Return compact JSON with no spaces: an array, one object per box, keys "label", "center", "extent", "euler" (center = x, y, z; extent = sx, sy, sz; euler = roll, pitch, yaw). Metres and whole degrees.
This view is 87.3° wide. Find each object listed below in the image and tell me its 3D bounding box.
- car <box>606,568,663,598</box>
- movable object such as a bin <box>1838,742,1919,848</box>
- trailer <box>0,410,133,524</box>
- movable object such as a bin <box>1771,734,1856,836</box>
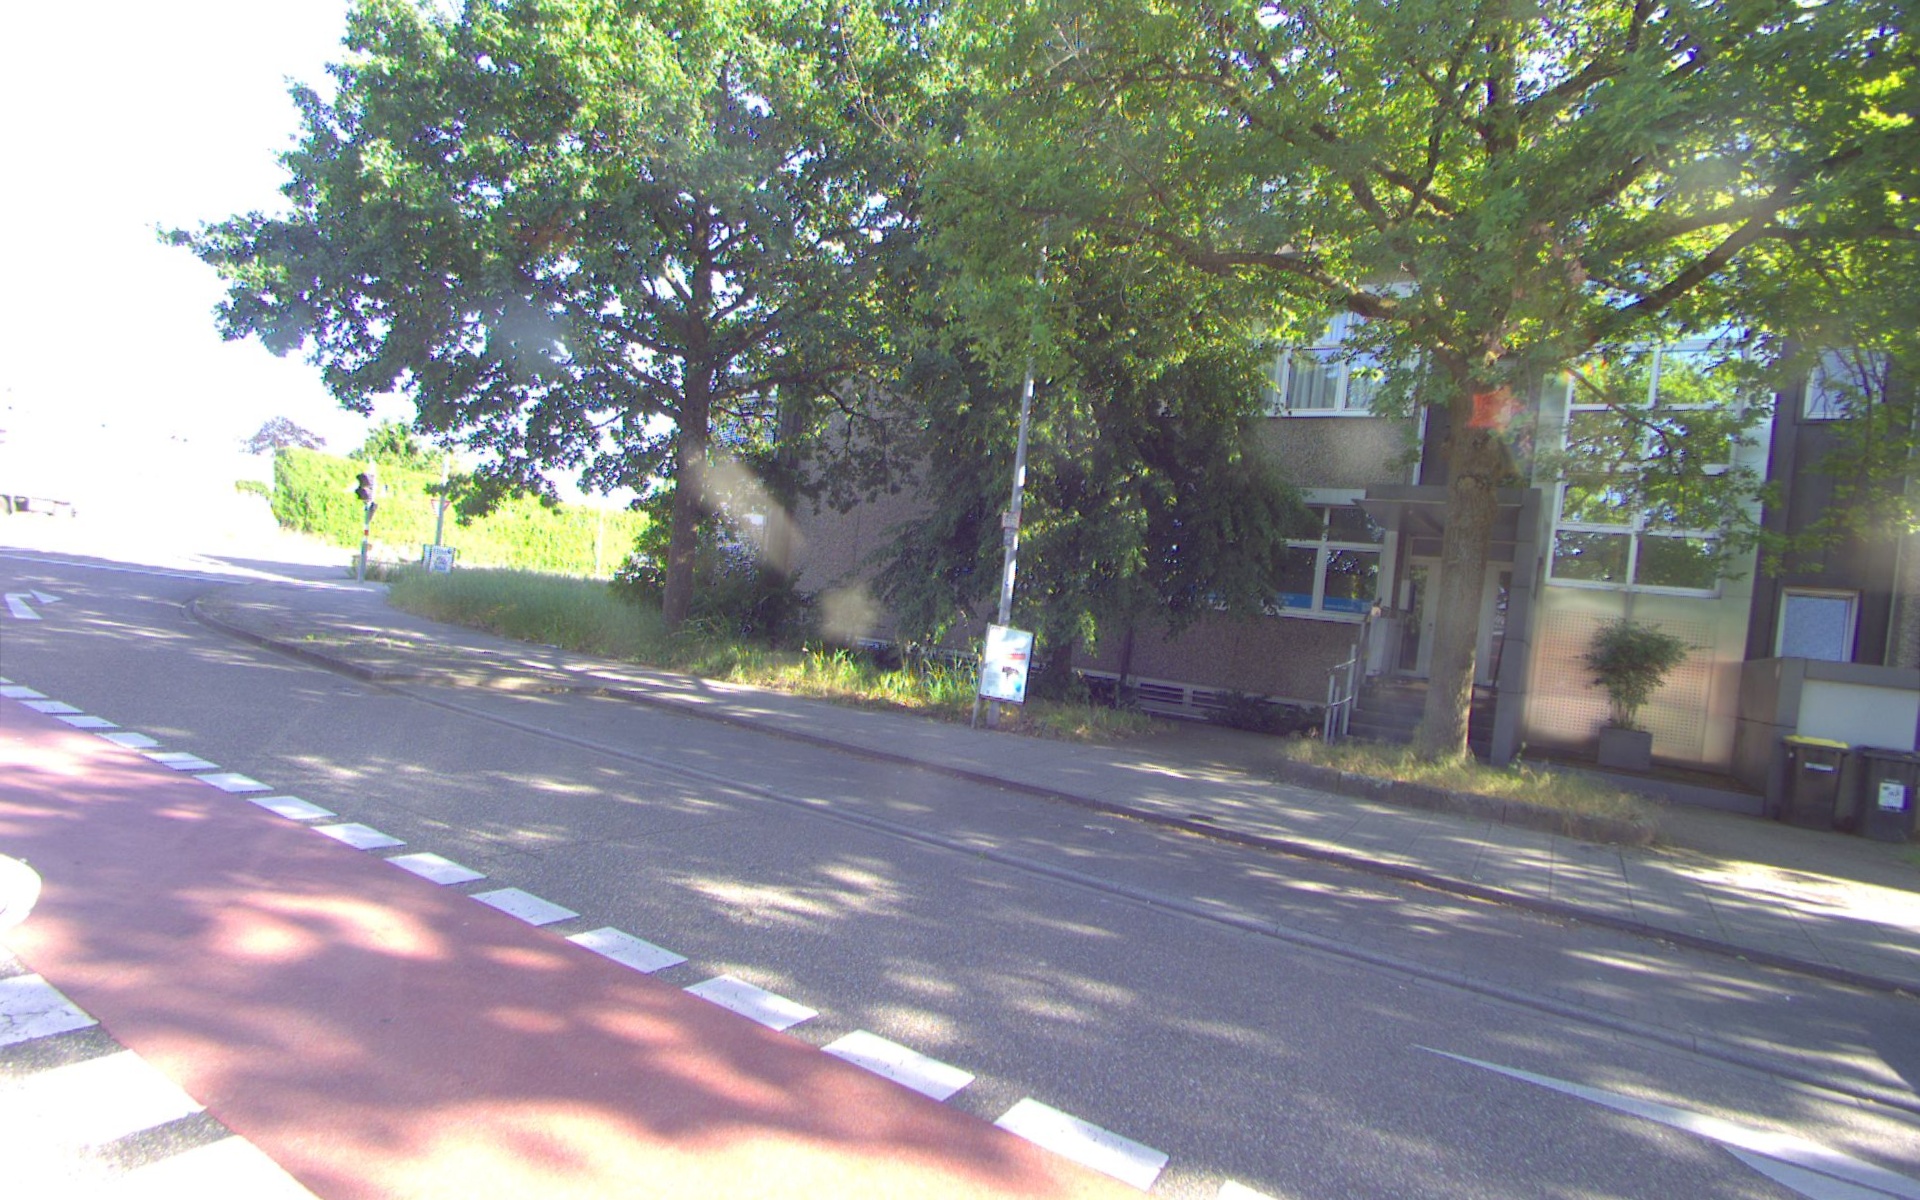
[{"label":"car","center":[-23.887,-1.236,73.966],"extent":[1.677,1.631,3.820],"euler":[7,-2,25]},{"label":"movable object such as a bin","center":[10.758,2.252,11.714],"extent":[0.605,1.075,0.634],"euler":[6,0,30]},{"label":"trailer","center":[-40.820,-5.720,38.008],"extent":[3.379,4.065,14.682],"euler":[6,1,24]},{"label":"movable object such as a bin","center":[10.169,2.184,12.007],"extent":[0.575,1.070,0.625],"euler":[7,0,30]}]
